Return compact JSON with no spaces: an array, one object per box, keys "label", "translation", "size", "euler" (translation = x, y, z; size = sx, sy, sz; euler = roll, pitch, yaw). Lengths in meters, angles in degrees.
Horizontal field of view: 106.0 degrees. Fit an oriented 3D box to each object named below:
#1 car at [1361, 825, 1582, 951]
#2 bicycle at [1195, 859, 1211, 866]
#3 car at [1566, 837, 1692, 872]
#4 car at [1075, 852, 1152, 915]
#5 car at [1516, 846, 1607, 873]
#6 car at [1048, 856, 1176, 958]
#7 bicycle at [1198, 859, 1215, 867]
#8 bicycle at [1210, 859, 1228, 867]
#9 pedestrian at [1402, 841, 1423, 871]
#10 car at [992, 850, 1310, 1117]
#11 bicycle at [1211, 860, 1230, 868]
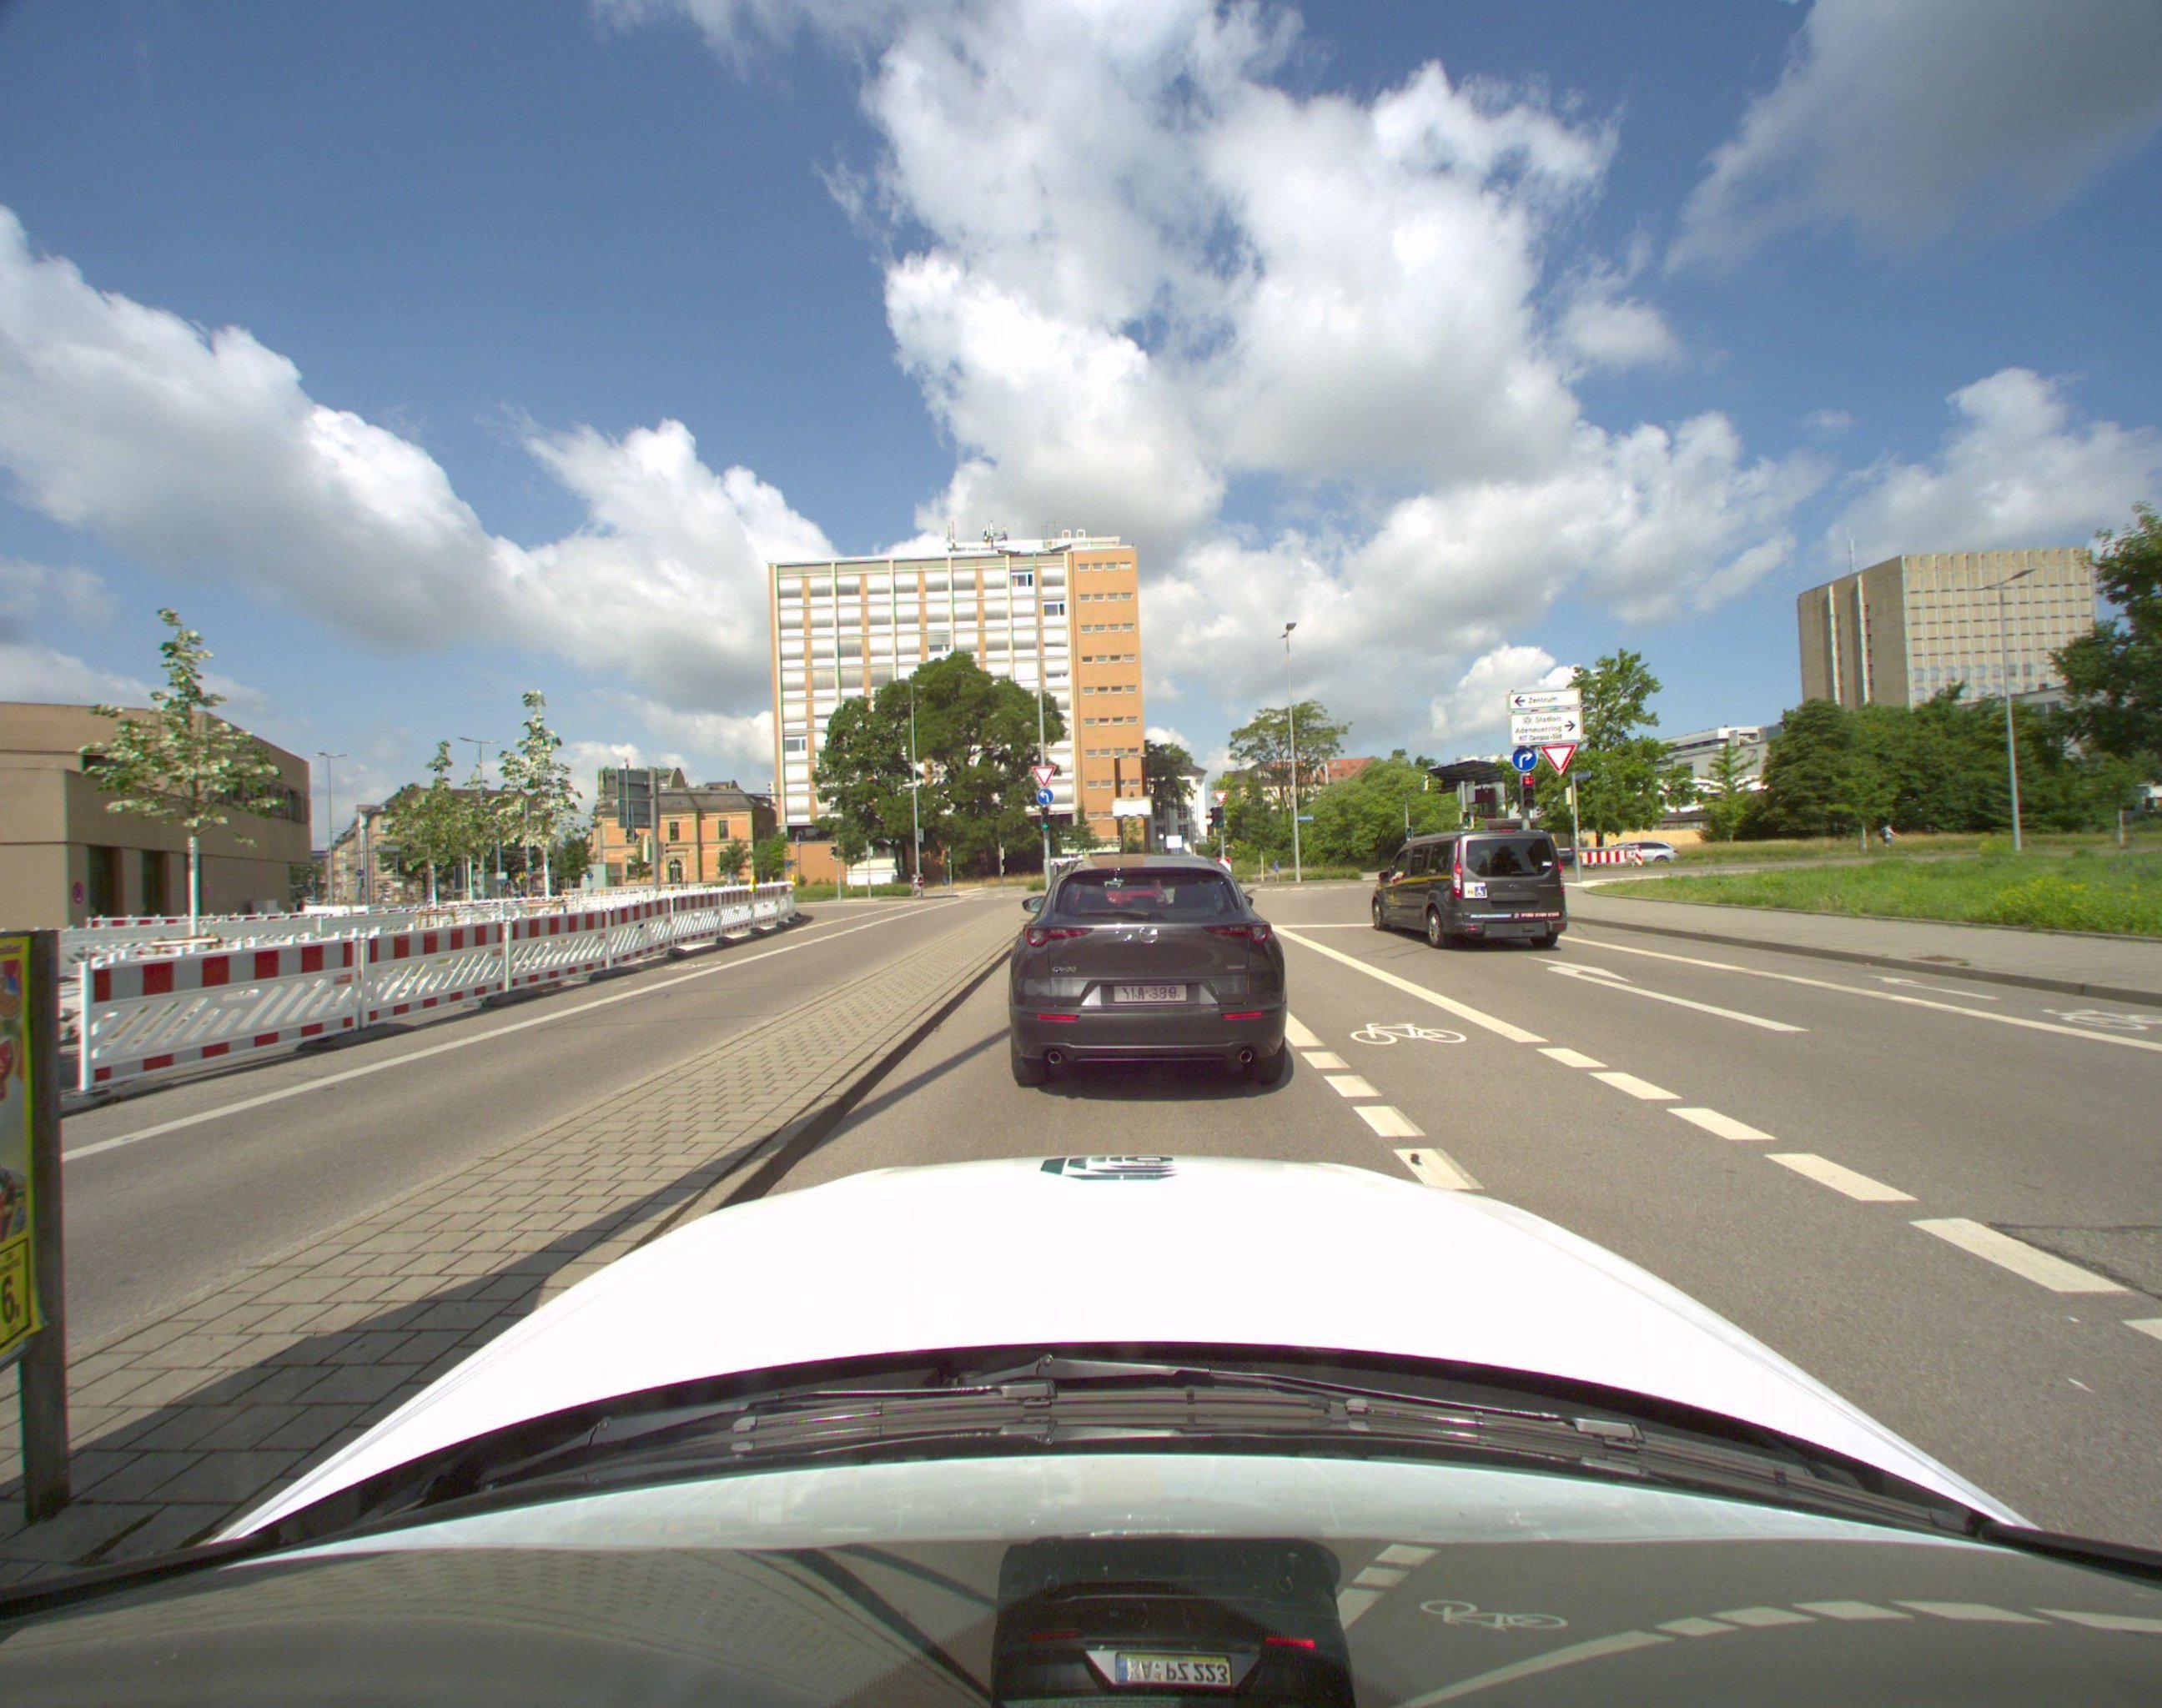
[{"label":"car","translation":[6.419,0.497,14.075],"size":[1.840,1.785,4.677],"euler":[-1,0,4]},{"label":"bicycle","translation":[17.265,1.241,115.189],"size":[2.048,0.936,0.804],"euler":[-3,-1,1]},{"label":"car","translation":[27.379,0.054,40.834],"size":[4.739,1.442,2.066],"euler":[-3,-3,6]},{"label":"car","translation":[0.913,0.748,22.374],"size":[1.840,1.472,4.338],"euler":[-3,-1,3]},{"label":"car","translation":[28.201,0.310,47.918],"size":[4.128,1.377,2.002],"euler":[-3,0,4]},{"label":"car","translation":[0.576,0.756,13.624],"size":[1.808,1.439,4.071],"euler":[0,0,4]},{"label":"bicycle","translation":[16.990,1.204,110.333],"size":[2.048,0.936,0.804],"euler":[-3,-1,1]},{"label":"bicycle","translation":[17.296,1.134,102.122],"size":[2.048,0.936,0.804],"euler":[-3,-1,1]},{"label":"pedestrian","translation":[21.123,0.153,51.898],"size":[0.696,1.857,1.177],"euler":[-3,-1,-8]},{"label":"car","translation":[0.462,0.740,6.728],"size":[1.799,1.508,4.206],"euler":[0,0,2]},{"label":"bicycle","translation":[16.817,1.202,98.135],"size":[2.048,0.936,0.804],"euler":[-3,-1,1]}]
